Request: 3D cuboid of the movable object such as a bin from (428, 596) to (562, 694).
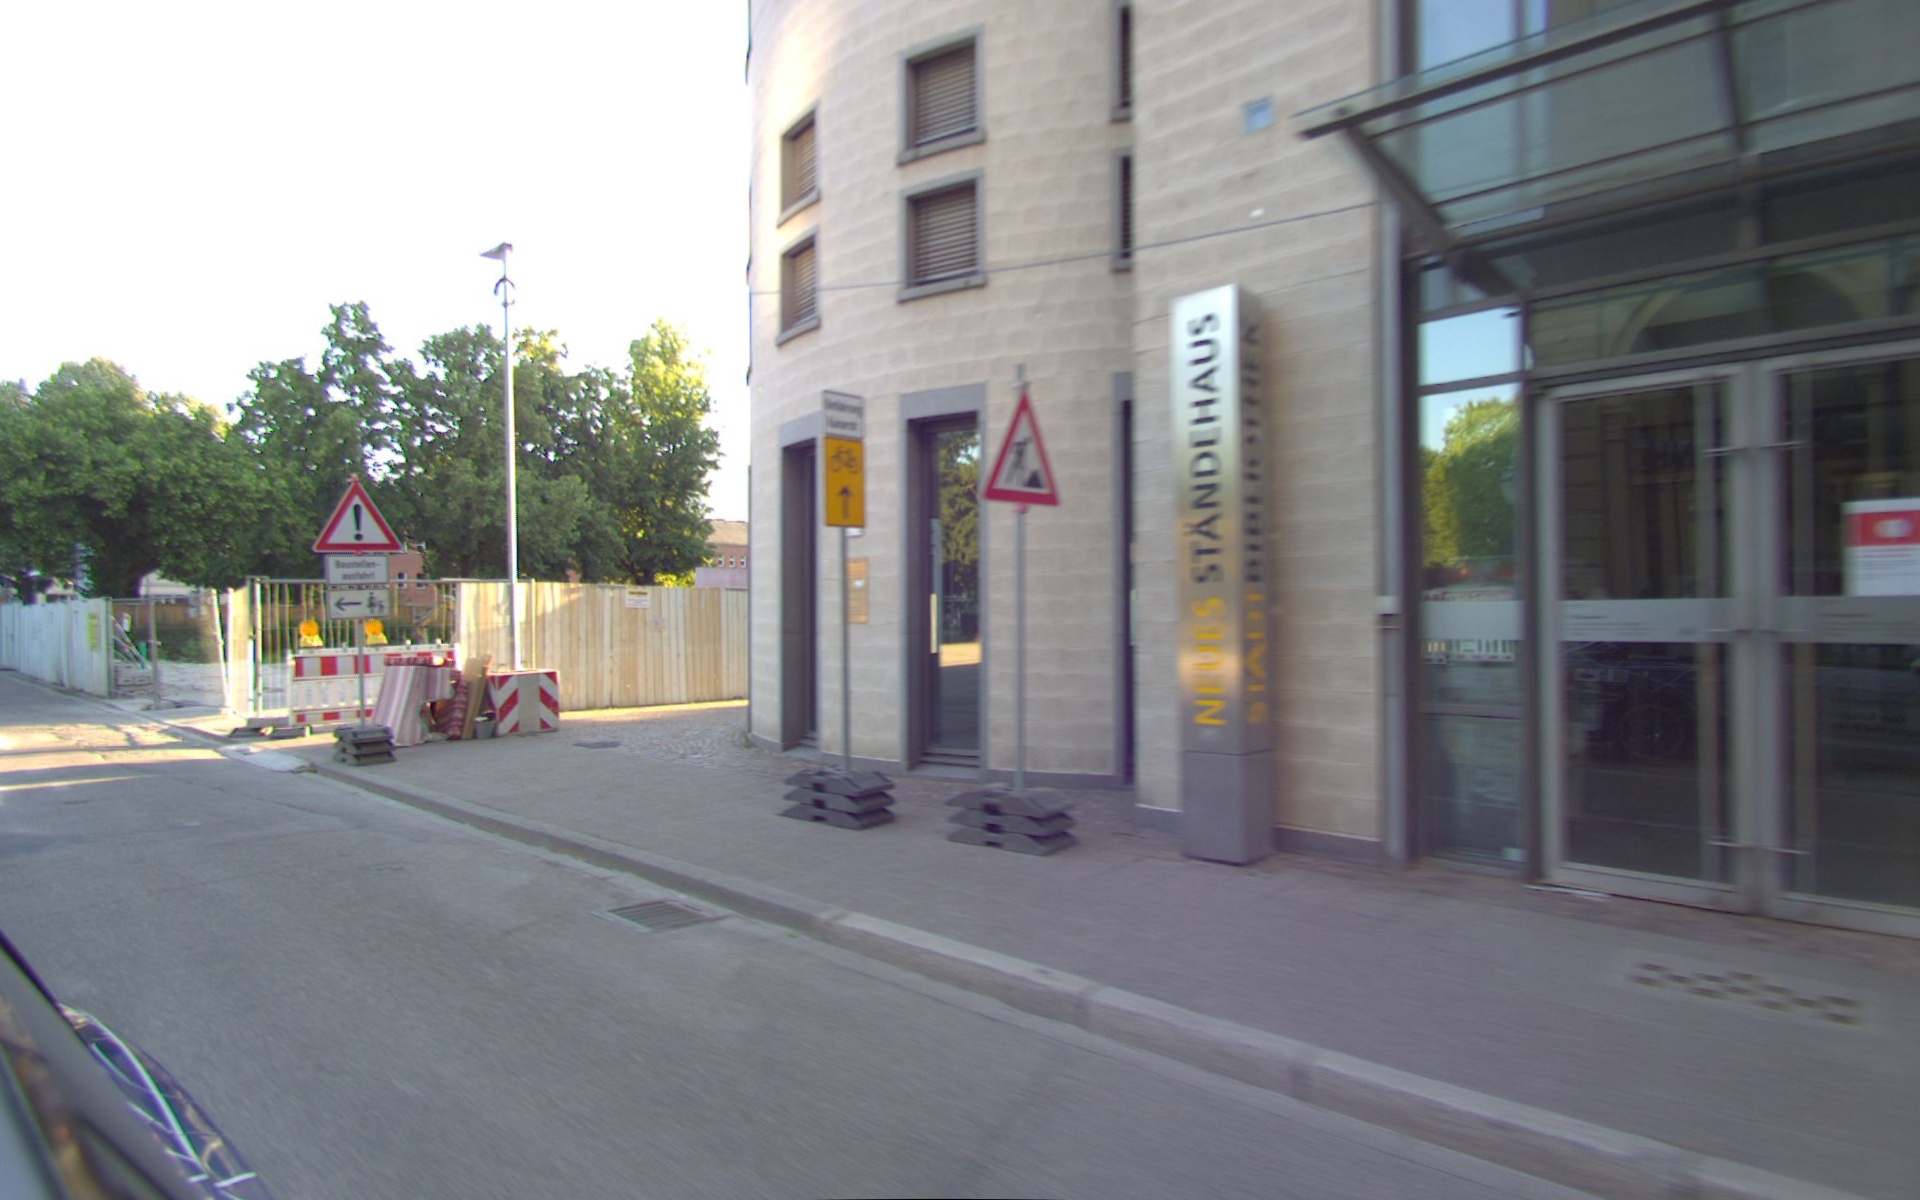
[{"bbox_3d":[-13.070,1.227,28.542,2.727,2.623,2.145,-1,-1,20],"label":"movable object such as a bin"}]
